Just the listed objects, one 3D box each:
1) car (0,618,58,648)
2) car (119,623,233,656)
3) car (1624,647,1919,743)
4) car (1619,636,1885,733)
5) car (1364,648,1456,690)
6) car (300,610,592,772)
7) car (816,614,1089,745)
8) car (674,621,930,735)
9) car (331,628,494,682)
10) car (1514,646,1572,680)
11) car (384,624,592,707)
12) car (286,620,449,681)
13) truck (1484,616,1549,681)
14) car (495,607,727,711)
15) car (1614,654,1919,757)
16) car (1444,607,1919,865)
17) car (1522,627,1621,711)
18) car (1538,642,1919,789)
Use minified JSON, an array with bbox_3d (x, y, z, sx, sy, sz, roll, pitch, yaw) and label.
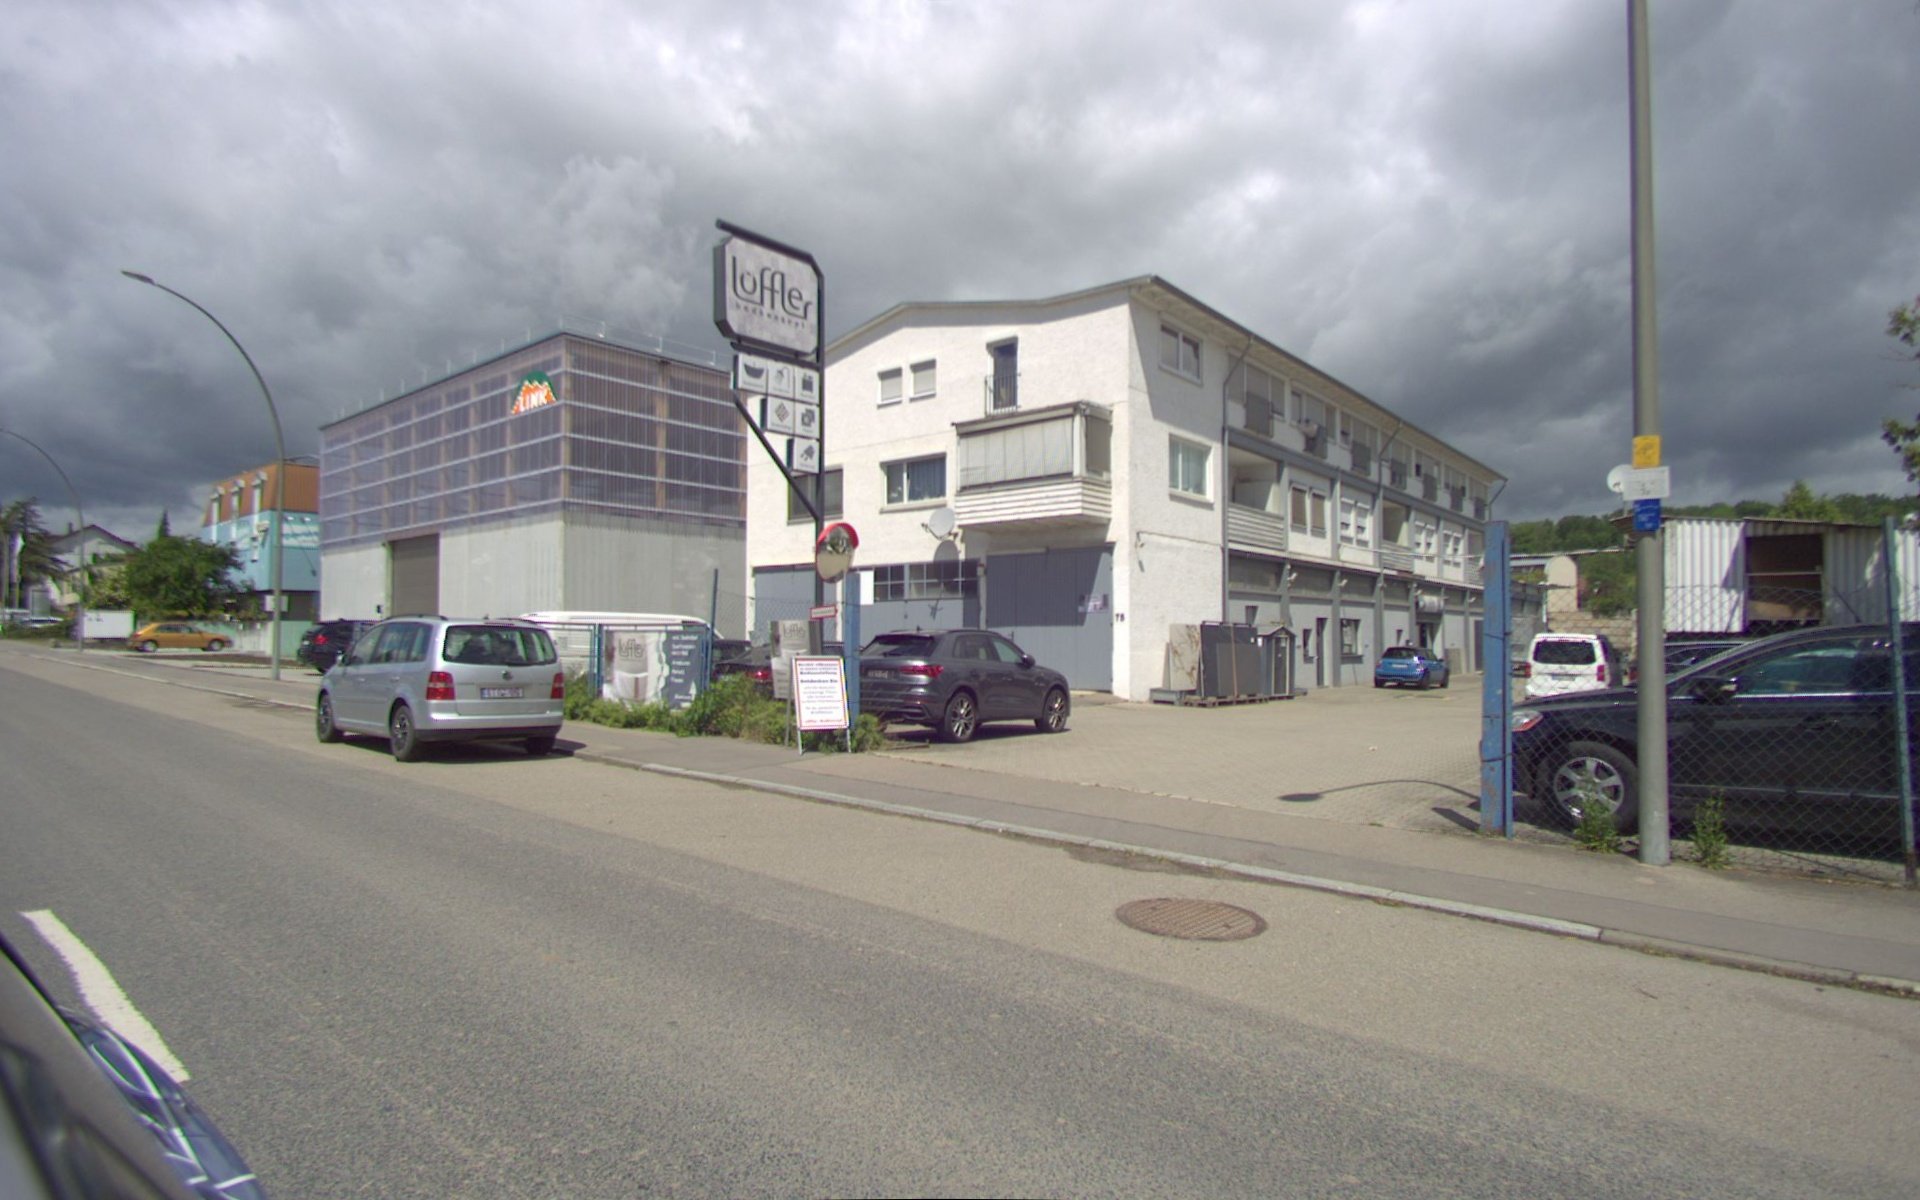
[{"bbox_3d":[-65.662,2.304,70.620,3.940,2.029,2.001,3,-3,-44],"label":"car"},{"bbox_3d":[-37.230,1.897,48.148,1.674,1.505,3.994,-1,-3,40],"label":"car"},{"bbox_3d":[14.648,1.638,18.338,4.237,1.481,1.790,-1,-3,39],"label":"car"},{"bbox_3d":[15.748,1.613,20.354,4.047,1.735,1.790,-1,-3,39],"label":"car"},{"bbox_3d":[15.484,2.337,34.761,1.997,1.306,3.948,-1,-3,38],"label":"car"},{"bbox_3d":[-6.512,1.040,12.630,4.126,1.689,1.785,-1,-5,41],"label":"car"},{"bbox_3d":[0.030,1.099,15.250,1.997,1.683,4.118,-1,-2,38],"label":"car"},{"bbox_3d":[-2.579,1.258,17.275,2.101,1.683,3.948,-1,-3,38],"label":"car"},{"bbox_3d":[-16.278,1.635,30.234,1.775,1.513,3.905,-3,-4,39],"label":"car"},{"bbox_3d":[28.966,3.092,50.251,1.947,1.585,3.948,-1,-3,38],"label":"car"},{"bbox_3d":[-11.003,1.496,23.777,1.999,1.762,3.945,-1,-3,41],"label":"car"},{"bbox_3d":[-18.519,1.564,31.762,1.999,1.750,3.945,0,-2,41],"label":"car"},{"bbox_3d":[25.770,2.238,46.844,2.087,2.848,3.950,-1,-3,37],"label":"truck"},{"bbox_3d":[-6.992,1.165,20.559,1.999,1.891,3.945,-1,-3,41],"label":"car"},{"bbox_3d":[12.678,1.595,15.963,3.935,1.395,1.617,-1,-4,33],"label":"car"},{"bbox_3d":[6.329,0.927,7.524,4.630,1.647,1.788,-2,-4,41],"label":"car"},{"bbox_3d":[16.396,1.784,27.054,1.995,2.042,4.087,-1,-3,35],"label":"car"},{"bbox_3d":[9.554,1.272,12.025,4.443,1.518,1.790,-2,-3,39],"label":"car"}]
